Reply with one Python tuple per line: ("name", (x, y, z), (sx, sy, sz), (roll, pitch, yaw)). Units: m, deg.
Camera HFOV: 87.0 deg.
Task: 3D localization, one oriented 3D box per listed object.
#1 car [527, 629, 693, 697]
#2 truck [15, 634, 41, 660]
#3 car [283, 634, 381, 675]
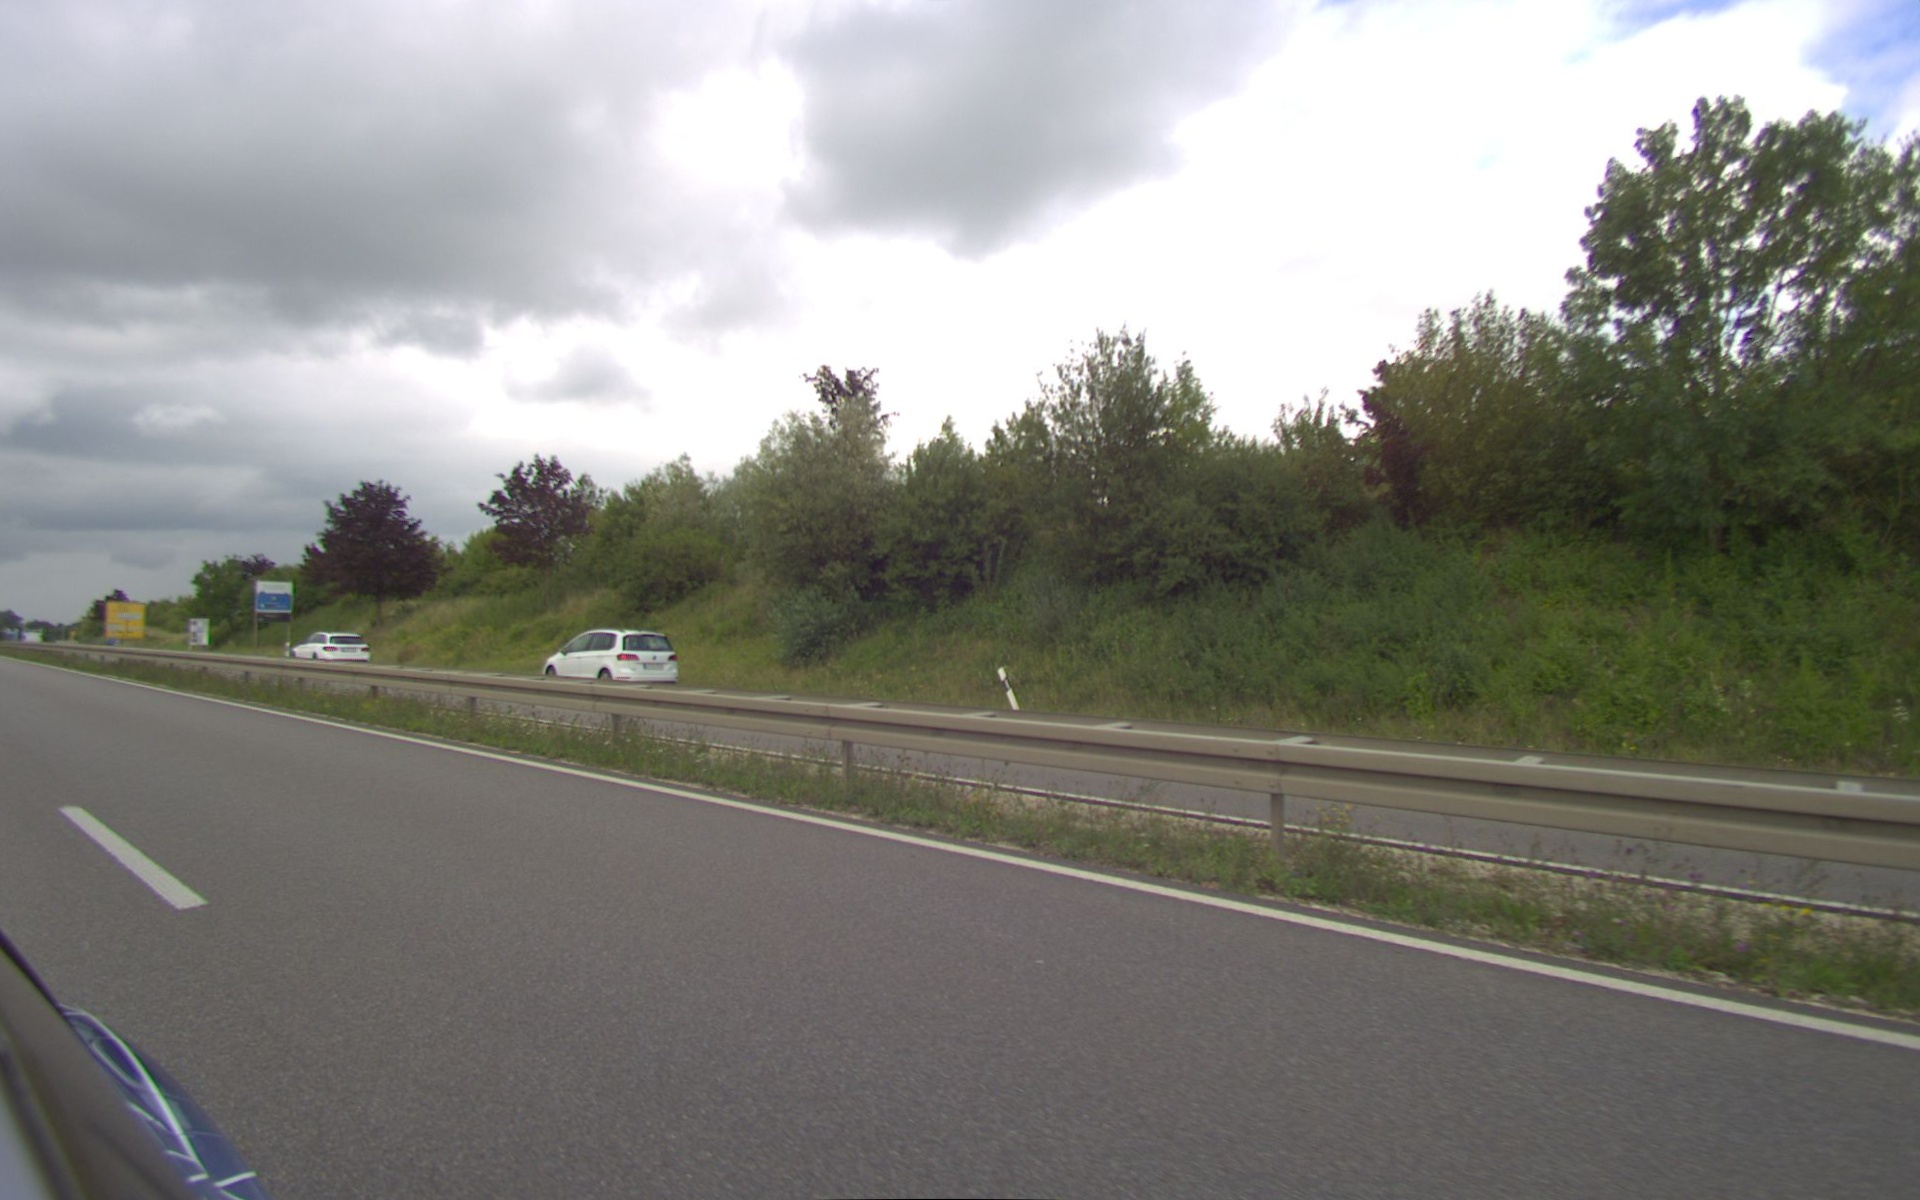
("car", (-8.699, 1.559, 24.997), (4.460, 1.529, 1.901), (-4, -4, 41))
("truck", (-149.488, 7.534, 162.366), (5.289, 4.028, 2.771), (-4, -4, 45))
("car", (-24.872, 2.179, 39.996), (4.986, 1.529, 1.972), (-4, -4, 42))
